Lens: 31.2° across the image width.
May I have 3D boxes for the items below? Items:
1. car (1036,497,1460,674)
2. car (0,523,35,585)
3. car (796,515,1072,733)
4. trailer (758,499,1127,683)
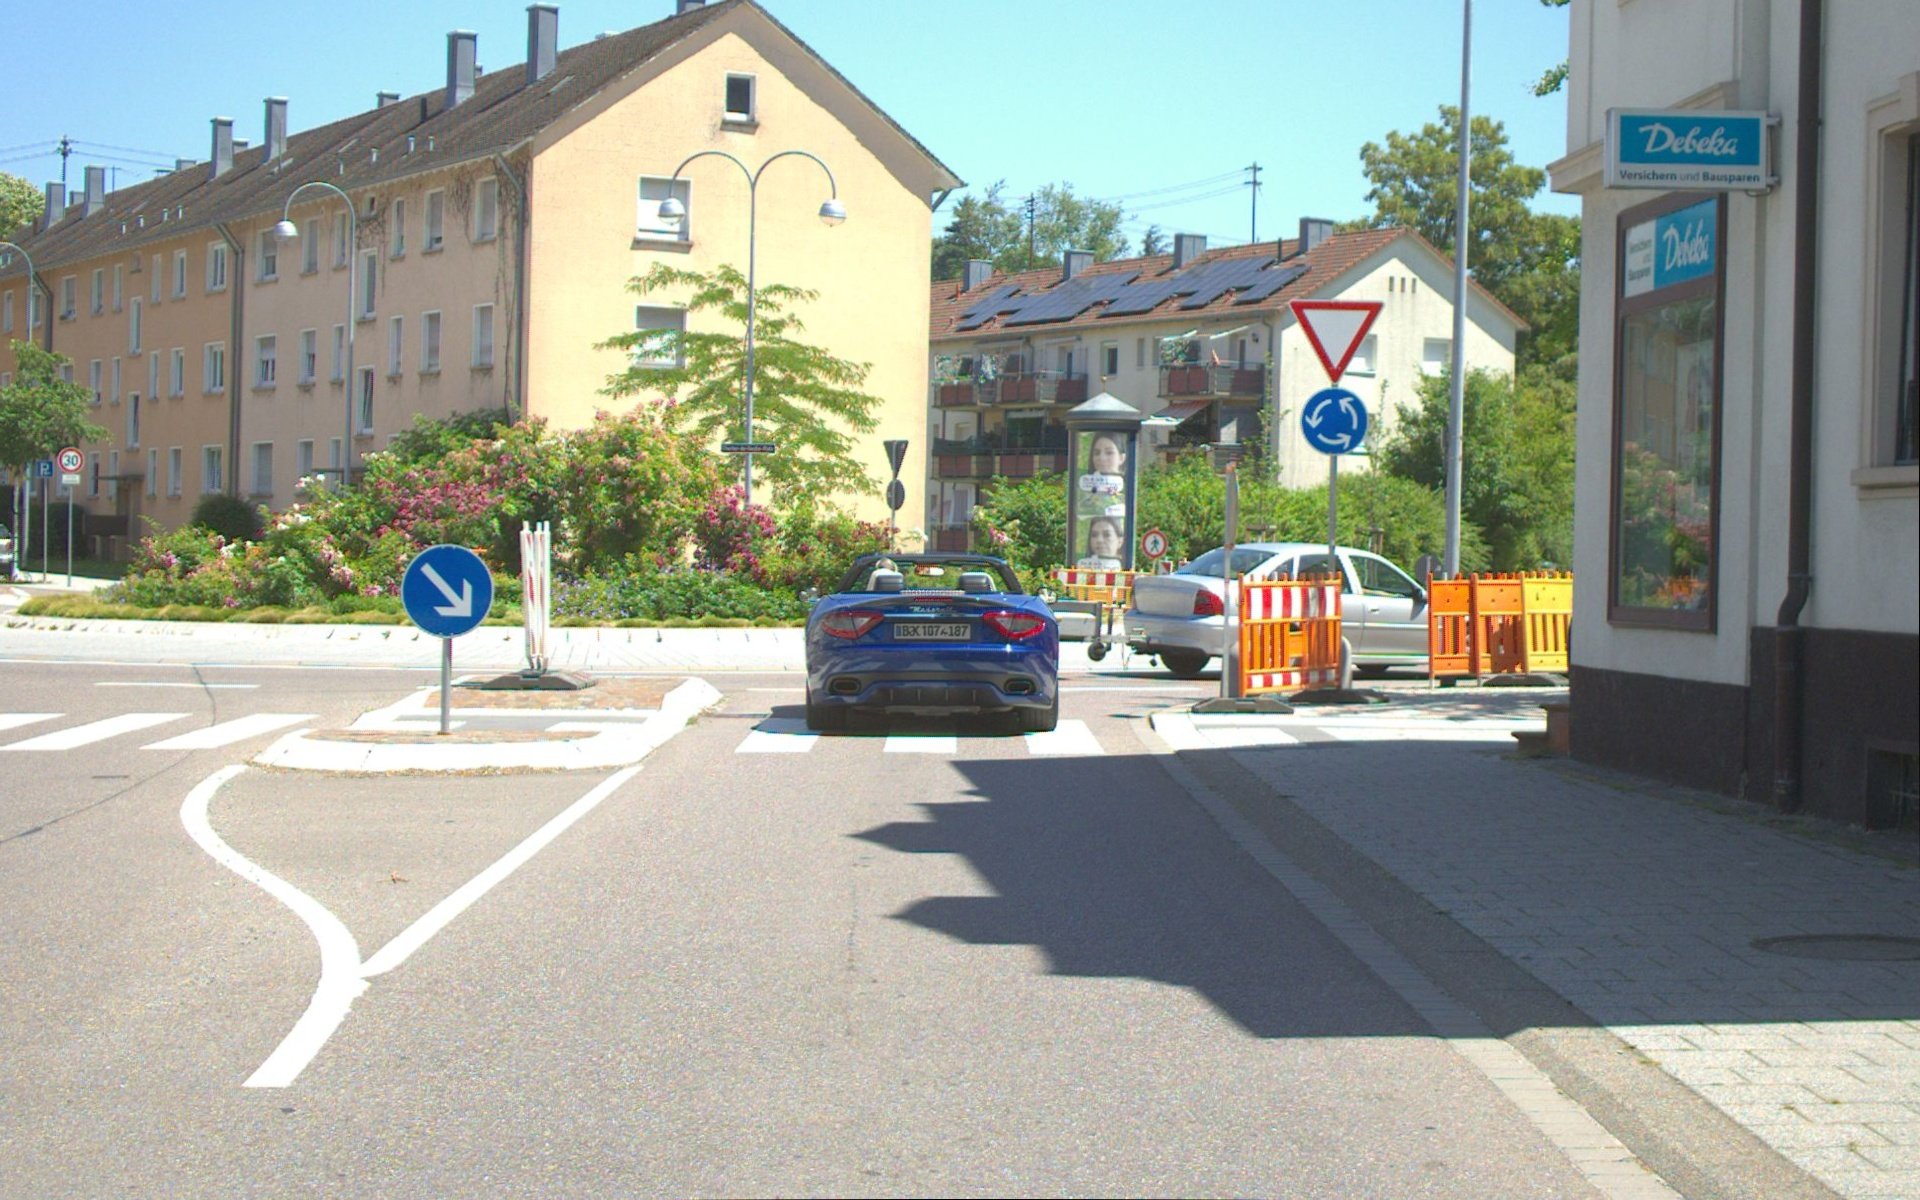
[{"bbox_3d":[3.015,-0.185,35.793,4.115,1.741,1.787,-1,2,-31],"label":"car"},{"bbox_3d":[-24.673,-1.200,86.248,1.812,1.495,4.000,2,0,-30],"label":"car"},{"bbox_3d":[-0.292,0.182,26.911,1.870,1.525,4.507,1,0,-4],"label":"car"},{"bbox_3d":[-0.165,-0.130,33.907,3.187,1.711,1.757,-1,2,-31],"label":"trailer"}]
